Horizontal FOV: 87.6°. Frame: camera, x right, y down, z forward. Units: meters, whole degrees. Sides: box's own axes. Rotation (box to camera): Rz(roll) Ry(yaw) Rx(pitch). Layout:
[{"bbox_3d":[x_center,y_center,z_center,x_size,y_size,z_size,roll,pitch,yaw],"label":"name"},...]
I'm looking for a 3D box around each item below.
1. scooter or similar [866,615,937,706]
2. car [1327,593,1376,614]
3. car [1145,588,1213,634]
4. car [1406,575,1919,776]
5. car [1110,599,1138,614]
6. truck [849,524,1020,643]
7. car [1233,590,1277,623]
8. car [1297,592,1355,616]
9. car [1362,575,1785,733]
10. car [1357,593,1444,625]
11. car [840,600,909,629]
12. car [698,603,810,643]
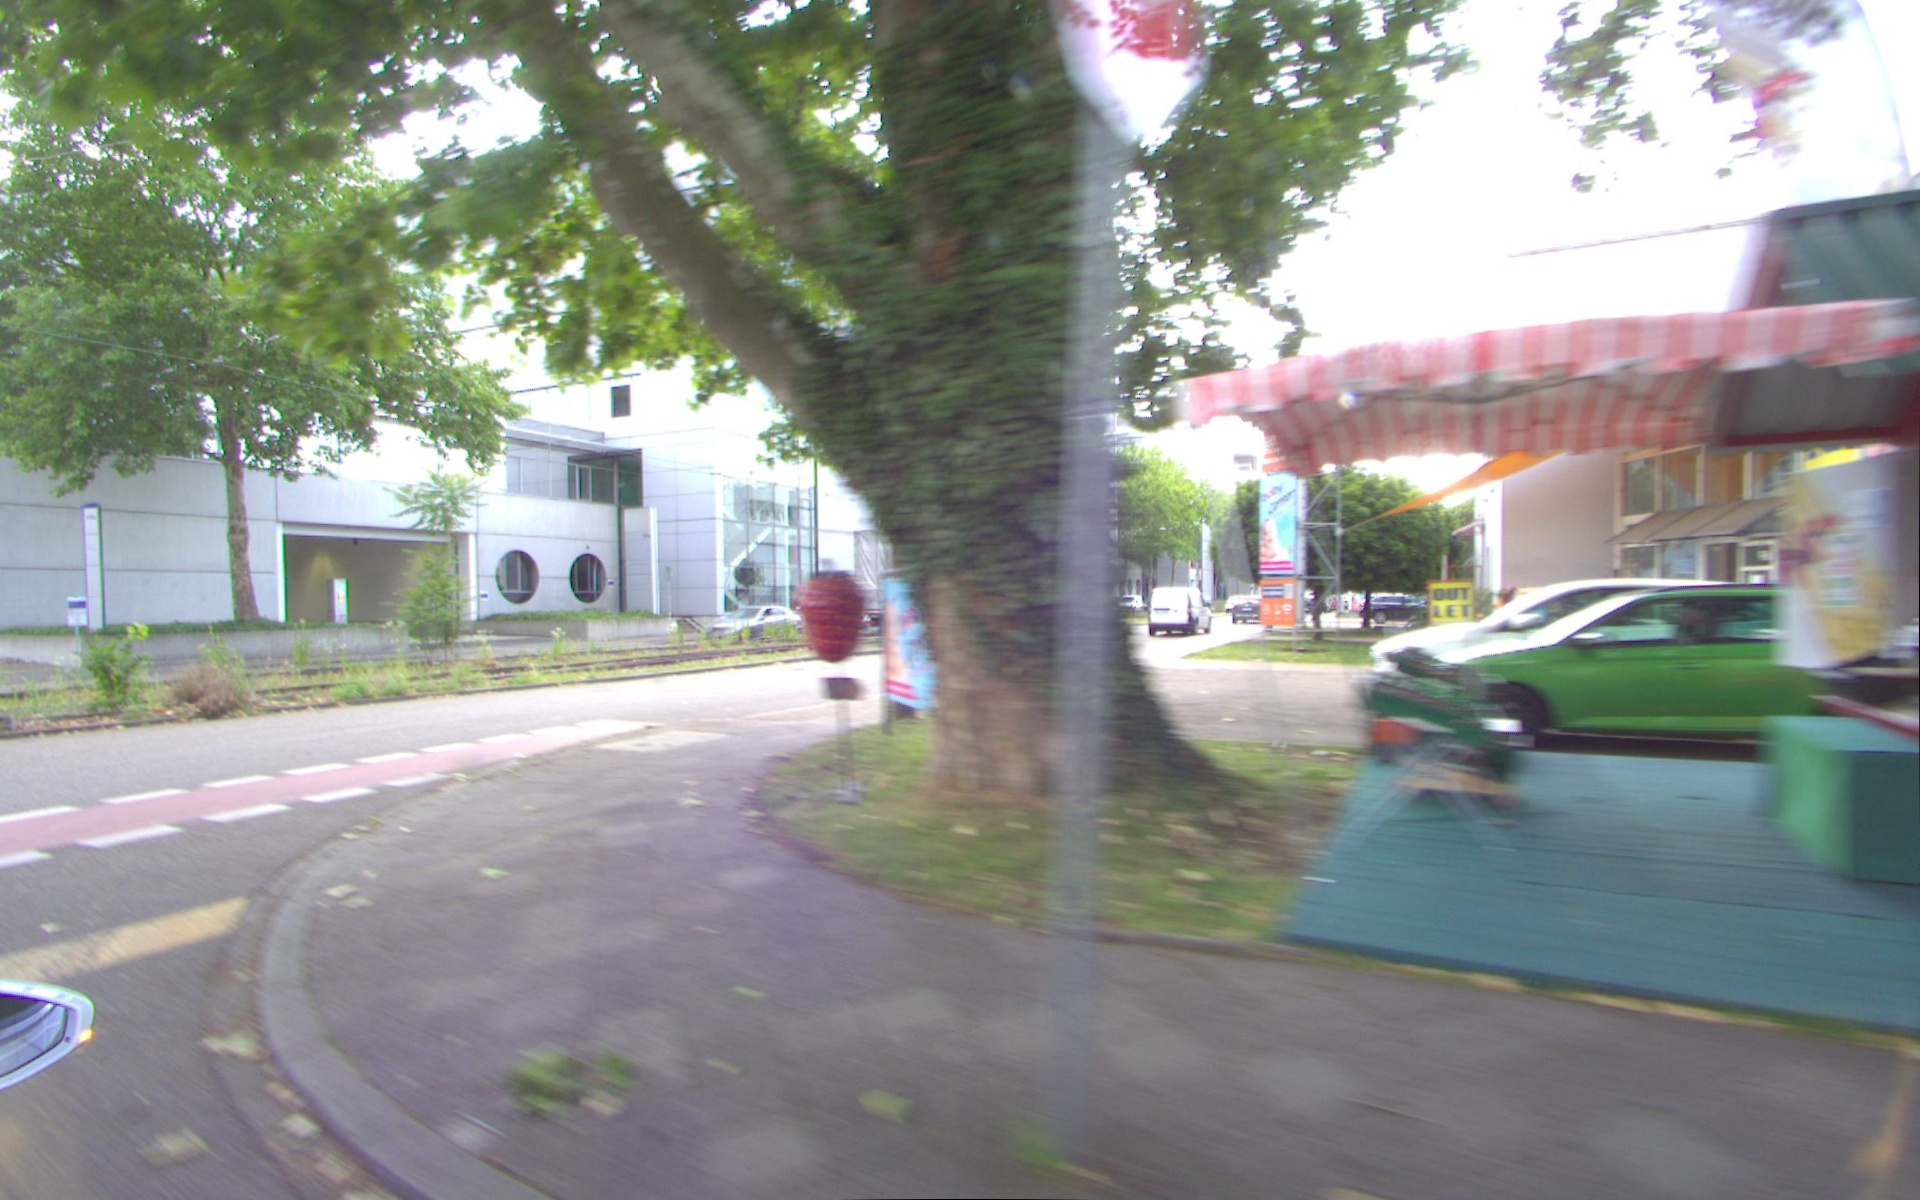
[{"bbox_3d":[-0.802,0.819,14.015,0.636,1.215,1.025,0,0,19],"label":"scooter or similar"},{"bbox_3d":[33.926,0.316,86.743,3.839,1.708,1.663,-1,1,28],"label":"car"},{"bbox_3d":[8.537,0.401,38.774,1.643,1.708,3.920,0,0,27],"label":"car"},{"bbox_3d":[6.266,0.578,9.140,3.937,1.532,1.738,0,1,27],"label":"car"},{"bbox_3d":[16.094,0.621,98.363,1.643,1.448,3.884,-1,0,27],"label":"car"},{"bbox_3d":[-0.656,-0.562,38.223,2.753,3.948,9.515,0,0,23],"label":"truck"},{"bbox_3d":[16.062,0.335,54.378,1.643,1.708,3.884,0,0,27],"label":"car"},{"bbox_3d":[27.284,0.323,74.632,3.839,1.708,1.663,-1,1,28],"label":"car"},{"bbox_3d":[6.803,0.548,11.648,3.932,1.589,1.740,0,1,22],"label":"car"},{"bbox_3d":[21.513,0.447,48.979,3.835,1.508,1.664,-1,1,24],"label":"car"},{"bbox_3d":[-4.573,0.759,54.000,1.913,1.472,4.057,-1,0,26],"label":"car"},{"bbox_3d":[-8.222,0.897,40.489,1.745,1.450,4.951,-1,0,26],"label":"car"}]
